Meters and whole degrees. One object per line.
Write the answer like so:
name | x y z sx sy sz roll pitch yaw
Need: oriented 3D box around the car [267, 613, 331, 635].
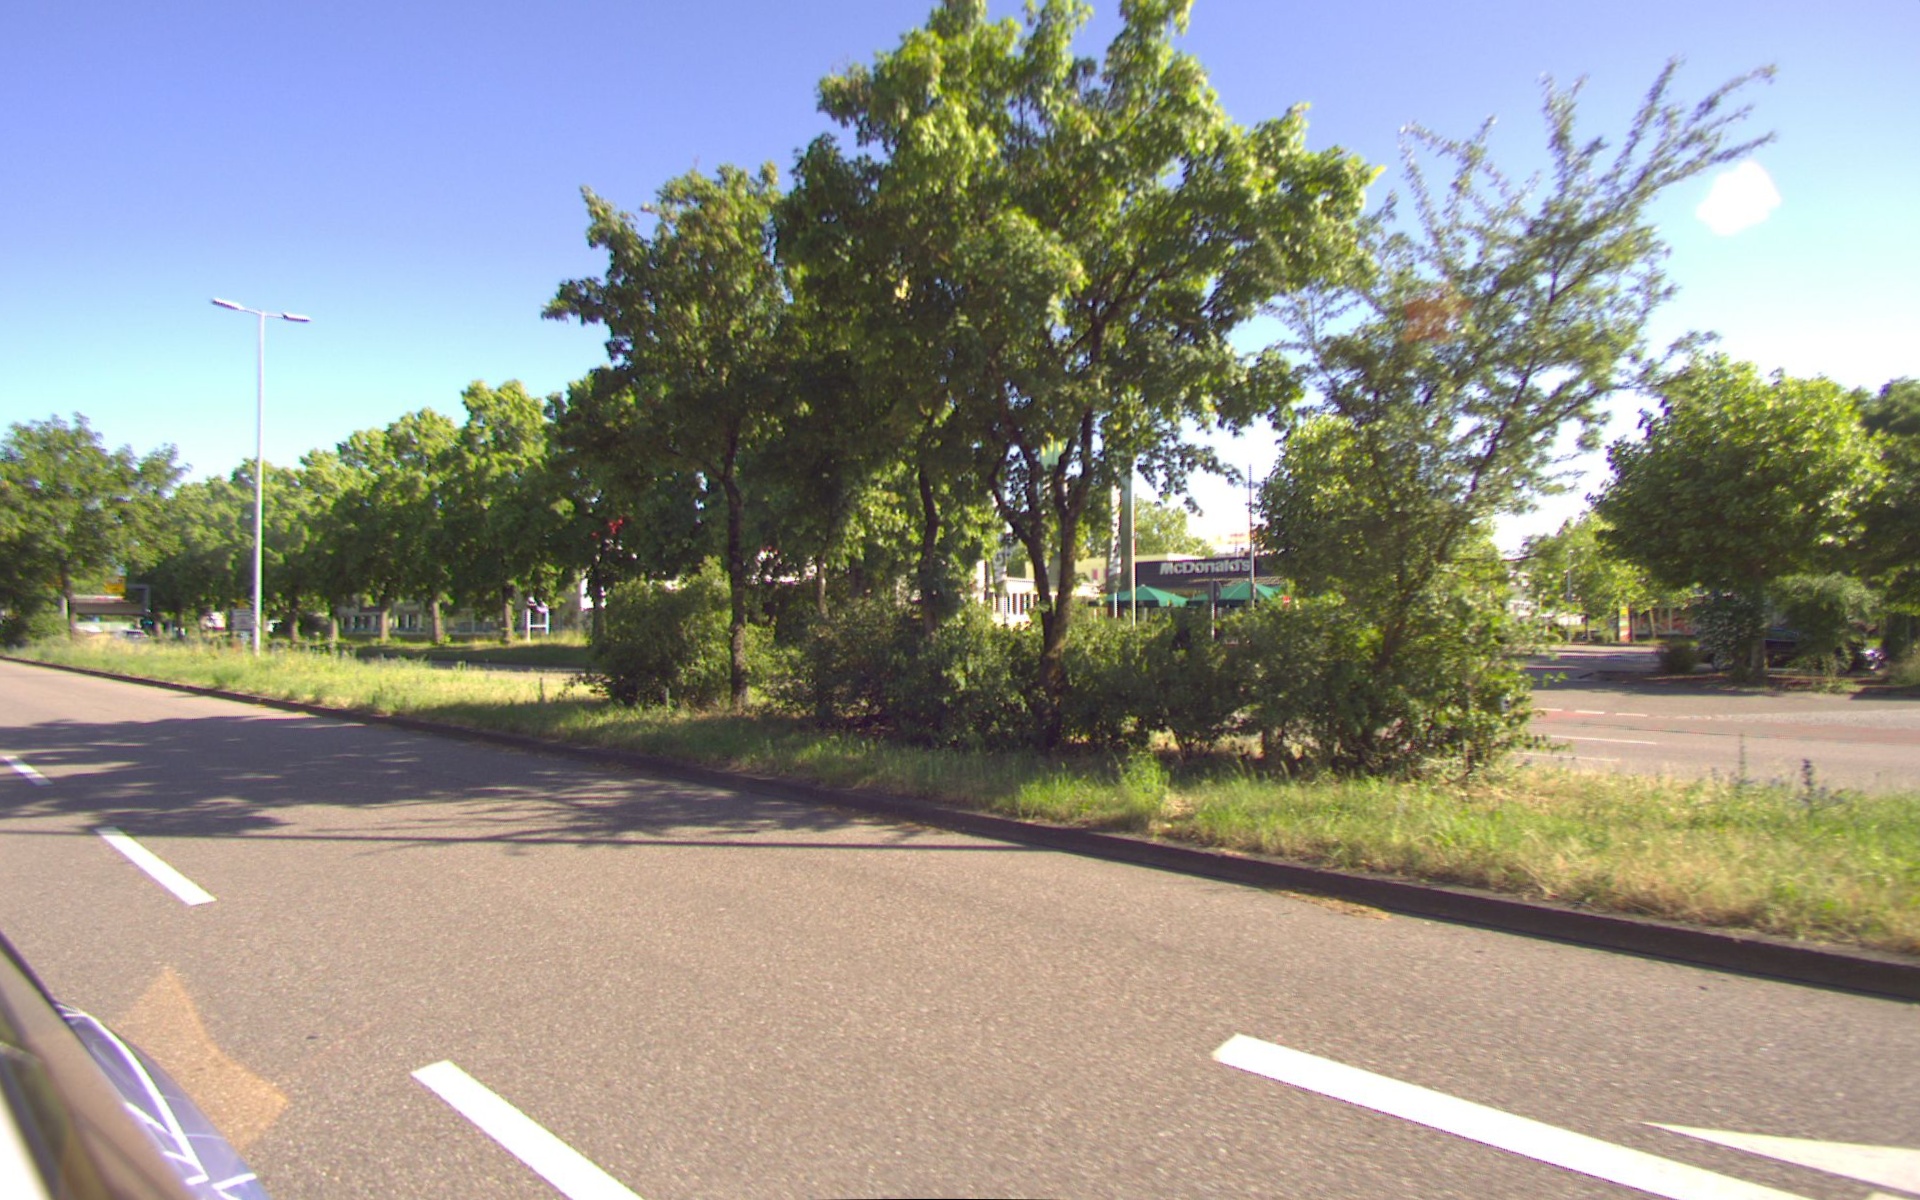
car | -76.548 2.800 117.334 2.204 2.452 5.821 -2 -2 38

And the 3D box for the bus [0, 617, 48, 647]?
bus | -91.923 3.148 98.928 11.082 2.742 2.692 -2 -5 41

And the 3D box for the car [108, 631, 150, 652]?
car | -63.498 3.178 77.282 4.527 1.532 1.737 -2 -5 42

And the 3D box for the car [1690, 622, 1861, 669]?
car | 24.677 1.348 30.731 3.929 1.320 1.769 -1 -1 41
